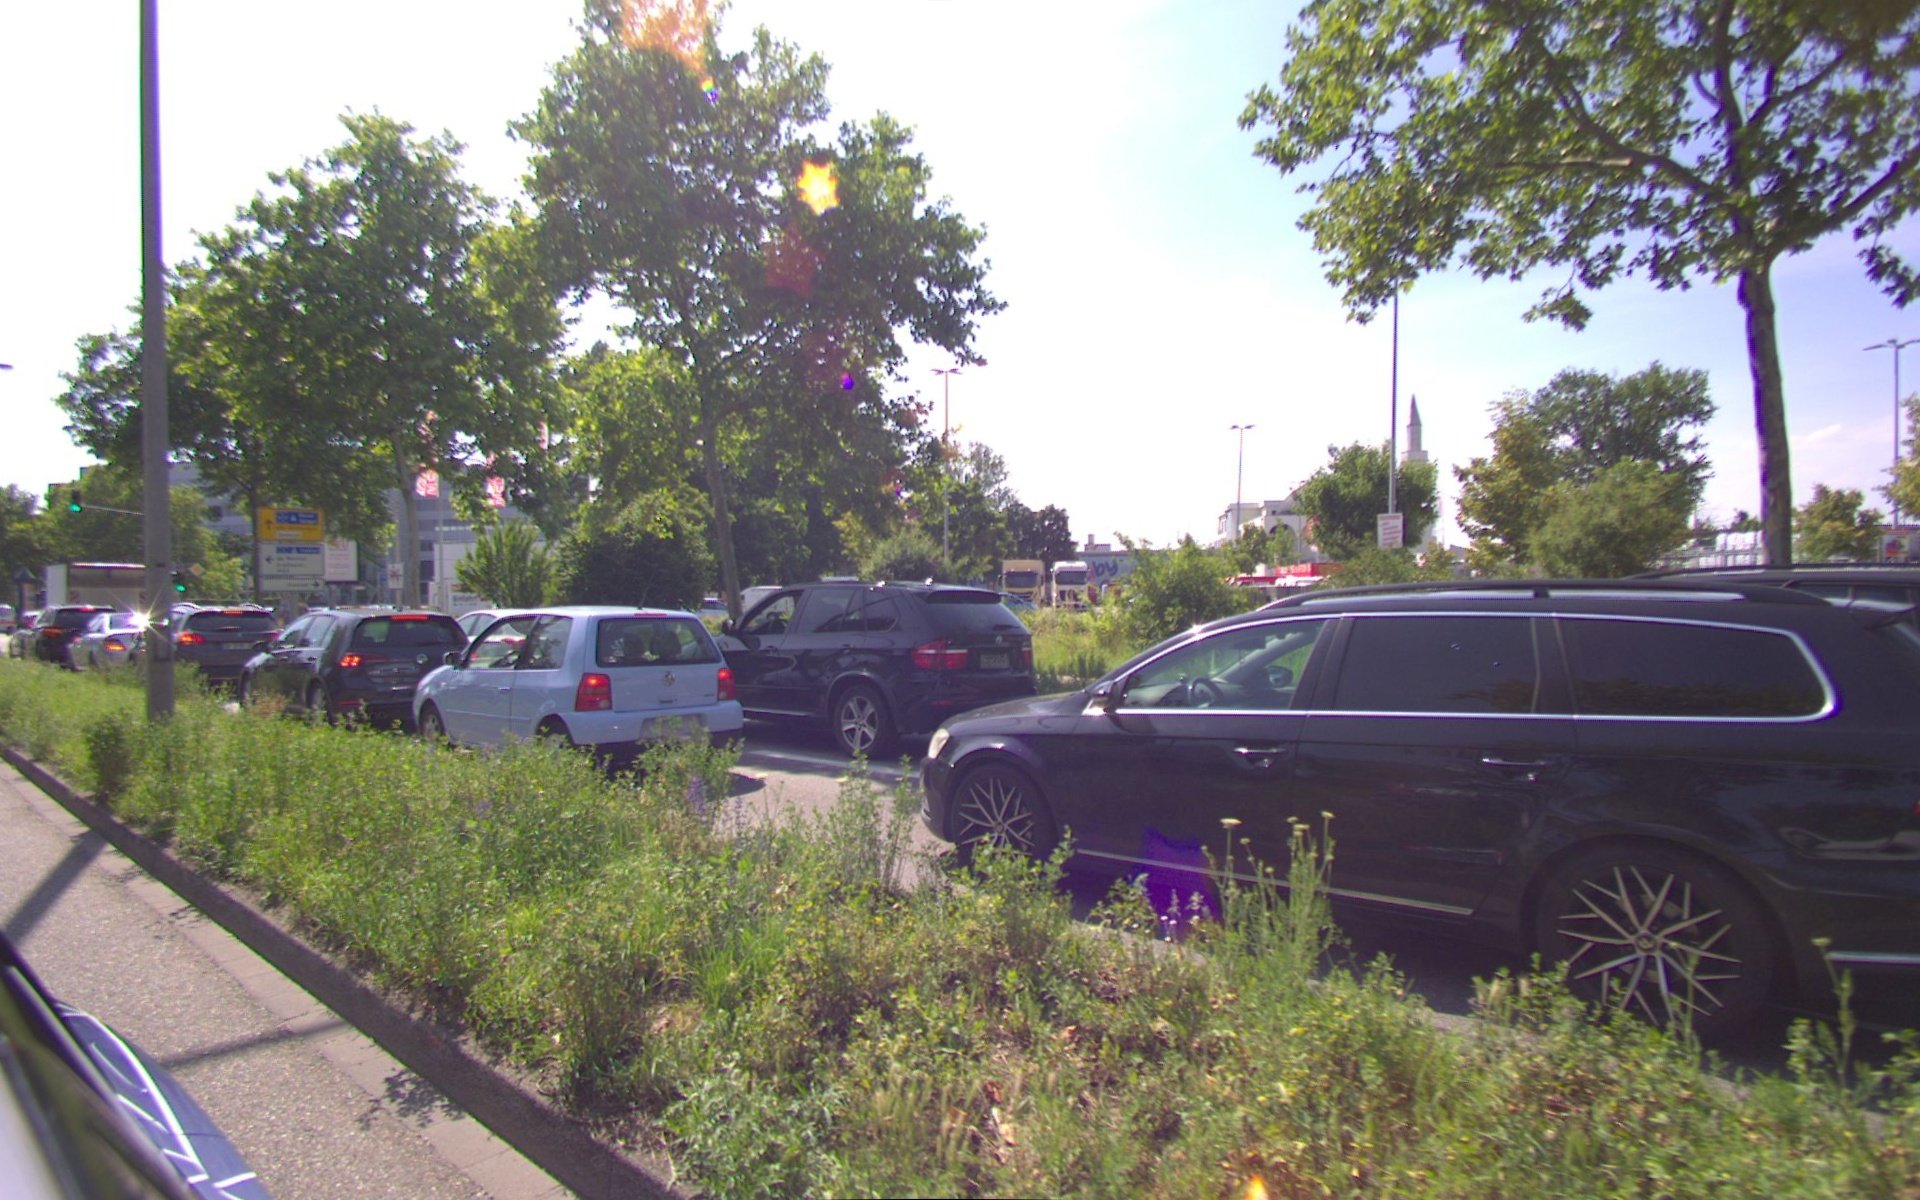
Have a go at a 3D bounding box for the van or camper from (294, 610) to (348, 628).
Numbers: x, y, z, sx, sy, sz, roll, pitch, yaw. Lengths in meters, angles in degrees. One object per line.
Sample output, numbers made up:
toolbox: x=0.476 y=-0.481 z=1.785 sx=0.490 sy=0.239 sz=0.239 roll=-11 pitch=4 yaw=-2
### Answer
van or camper: x=-67.564 y=1.992 z=107.026 sx=4.453 sy=1.704 sz=1.998 roll=-1 pitch=0 yaw=4

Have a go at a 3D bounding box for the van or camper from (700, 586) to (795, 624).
van or camper: x=-13.426 y=0.321 z=64.107 sx=5.453 sy=2.226 sz=2.191 roll=-1 pitch=0 yaw=8

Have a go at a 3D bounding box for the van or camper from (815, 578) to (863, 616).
van or camper: x=-10.319 y=-0.281 z=86.977 sx=2.679 sy=3.124 sz=6.313 roll=-1 pitch=1 yaw=6

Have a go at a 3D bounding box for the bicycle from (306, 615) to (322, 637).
bicycle: x=-32.838 y=1.317 z=51.457 sx=0.586 sy=1.045 sz=1.900 roll=-1 pitch=0 yaw=-35

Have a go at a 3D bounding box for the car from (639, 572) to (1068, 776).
car: x=-1.321 y=0.641 z=10.906 sx=4.764 sy=1.750 sz=1.803 roll=0 pitch=0 yaw=40

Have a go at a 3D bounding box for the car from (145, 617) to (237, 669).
car: x=-23.329 y=1.264 z=30.675 sx=3.543 sy=1.463 sz=1.548 roll=-1 pitch=-1 yaw=41

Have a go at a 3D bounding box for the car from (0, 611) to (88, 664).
car: x=-27.807 y=1.101 z=30.684 sx=3.727 sy=1.488 sz=1.576 roll=-1 pitch=-1 yaw=41

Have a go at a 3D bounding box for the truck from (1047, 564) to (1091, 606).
truck: x=8.136 y=-1.083 z=76.417 sx=2.889 sy=2.914 sz=9.602 roll=-1 pitch=0 yaw=4

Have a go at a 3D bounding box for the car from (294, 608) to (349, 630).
car: x=-53.556 y=1.591 z=84.918 sx=1.974 sy=1.712 sz=3.996 roll=-1 pitch=0 yaw=3

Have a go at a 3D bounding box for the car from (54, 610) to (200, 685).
car: x=-18.221 y=0.982 z=22.063 sx=4.521 sy=1.479 sz=1.778 roll=-1 pitch=-1 yaw=41

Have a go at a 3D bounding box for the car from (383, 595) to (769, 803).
car: x=-3.579 y=0.743 z=9.115 sx=3.812 sy=1.483 sz=1.671 roll=-1 pitch=-1 yaw=41

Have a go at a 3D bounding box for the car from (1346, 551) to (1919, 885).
car: x=4.752 y=0.602 z=6.156 sx=4.176 sy=1.659 sz=1.671 roll=-1 pitch=-1 yaw=41

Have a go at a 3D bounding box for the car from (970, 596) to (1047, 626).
car: x=2.770 y=0.598 z=57.032 sx=4.226 sy=1.584 sz=1.819 roll=-1 pitch=0 yaw=5

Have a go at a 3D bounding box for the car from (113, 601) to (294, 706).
car: x=-13.126 y=0.849 z=17.467 sx=4.238 sy=1.599 sz=1.671 roll=-1 pitch=-1 yaw=41

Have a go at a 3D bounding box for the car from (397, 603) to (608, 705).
car: x=-7.835 y=0.860 z=17.181 sx=4.081 sy=1.542 sz=1.672 roll=-1 pitch=-2 yaw=40

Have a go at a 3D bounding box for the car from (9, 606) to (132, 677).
car: x=-23.091 y=0.994 z=26.210 sx=4.692 sy=1.659 sz=1.801 roll=0 pitch=0 yaw=41

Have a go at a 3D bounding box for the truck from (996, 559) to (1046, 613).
truck: x=4.061 y=-0.836 z=67.802 sx=3.119 sy=3.336 sz=8.915 roll=-1 pitch=-1 yaw=3

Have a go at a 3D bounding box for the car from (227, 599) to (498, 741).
car: x=-7.563 y=0.780 z=12.637 sx=4.216 sy=1.485 sz=1.671 roll=-1 pitch=-2 yaw=41

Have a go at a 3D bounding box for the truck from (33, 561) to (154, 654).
truck: x=-35.457 y=0.366 z=41.345 sx=6.687 sy=3.498 sz=2.775 roll=-2 pitch=-2 yaw=41

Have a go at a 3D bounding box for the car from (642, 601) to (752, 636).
car: x=-11.810 y=0.791 z=45.737 sx=2.195 sy=1.424 sz=4.525 roll=-1 pitch=0 yaw=34

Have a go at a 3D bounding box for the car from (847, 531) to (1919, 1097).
car: x=1.753 y=0.620 z=4.676 sx=4.825 sy=1.541 sz=1.739 roll=-1 pitch=-1 yaw=41

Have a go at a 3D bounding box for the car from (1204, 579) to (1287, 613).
car: x=22.713 y=-0.310 z=80.705 sx=6.056 sy=2.548 sz=2.382 roll=-1 pitch=0 yaw=9

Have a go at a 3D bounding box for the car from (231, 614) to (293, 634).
car: x=-53.994 y=1.846 z=78.358 sx=1.824 sy=1.460 sz=3.994 roll=-1 pitch=0 yaw=5
